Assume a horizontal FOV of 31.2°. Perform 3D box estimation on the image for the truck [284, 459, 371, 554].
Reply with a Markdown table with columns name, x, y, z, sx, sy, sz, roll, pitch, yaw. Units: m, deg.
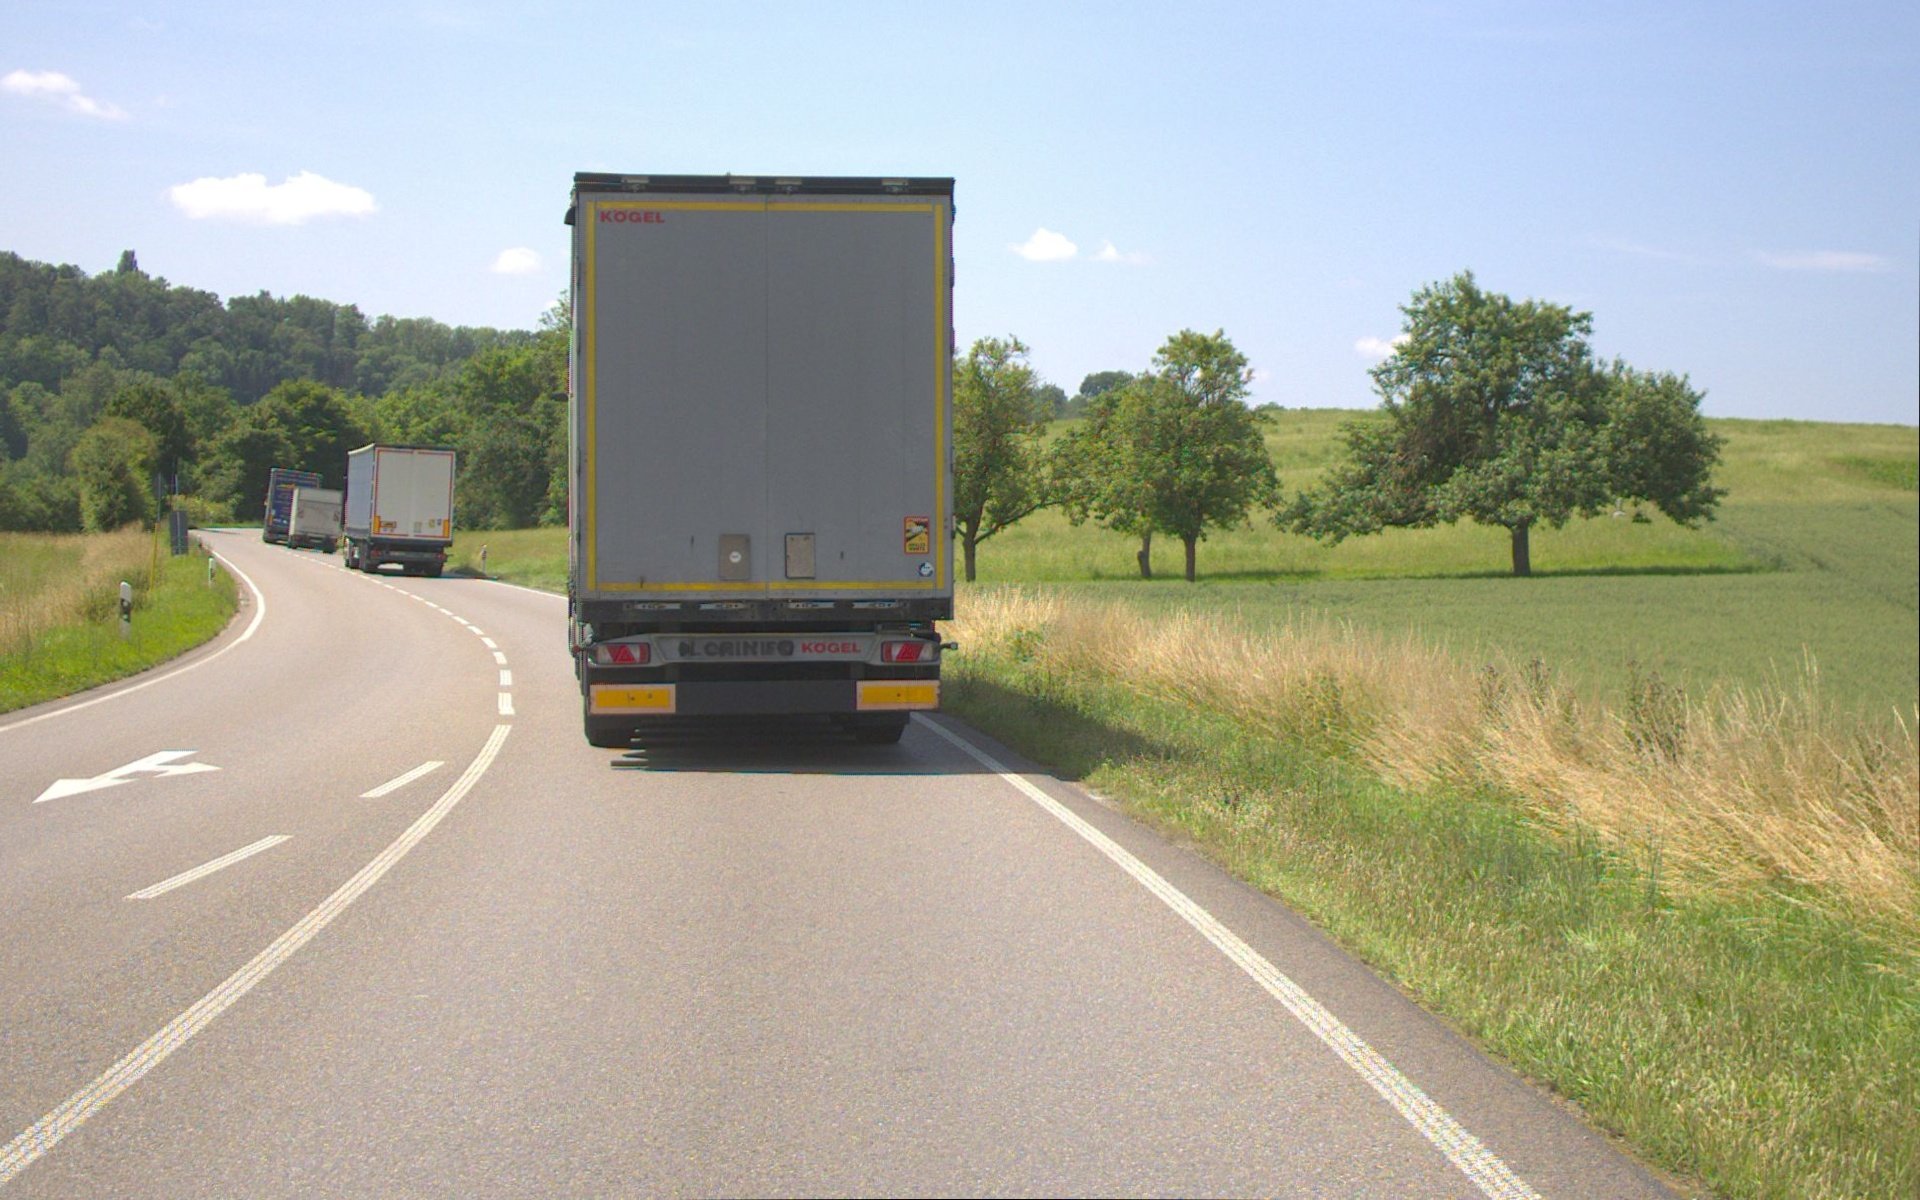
| name | x | y | z | sx | sy | sz | roll | pitch | yaw |
| --- | --- | --- | --- | --- | --- | --- | --- | --- | --- |
| truck | -31.538 | -4.571 | 171.026 | 3.636 | 4.115 | 13.101 | 3 | -1 | -12 |

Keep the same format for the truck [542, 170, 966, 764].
| name | x | y | z | sx | sy | sz | roll | pitch | yaw |
| --- | --- | --- | --- | --- | --- | --- | --- | --- | --- |
| truck | -1.894 | -0.985 | 27.693 | 2.807 | 3.932 | 9.593 | 0 | 1 | -6 |

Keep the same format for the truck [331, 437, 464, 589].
| name | x | y | z | sx | sy | sz | roll | pitch | yaw |
| --- | --- | --- | --- | --- | --- | --- | --- | --- | --- |
| truck | -18.750 | -2.782 | 113.661 | 2.960 | 4.568 | 16.321 | 2 | 0 | -14 |

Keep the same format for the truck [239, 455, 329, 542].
| name | x | y | z | sx | sy | sz | roll | pitch | yaw |
| --- | --- | --- | --- | --- | --- | --- | --- | --- | --- |
| truck | -37.258 | -5.491 | 189.040 | 3.528 | 4.226 | 13.409 | 3 | -1 | -16 |
